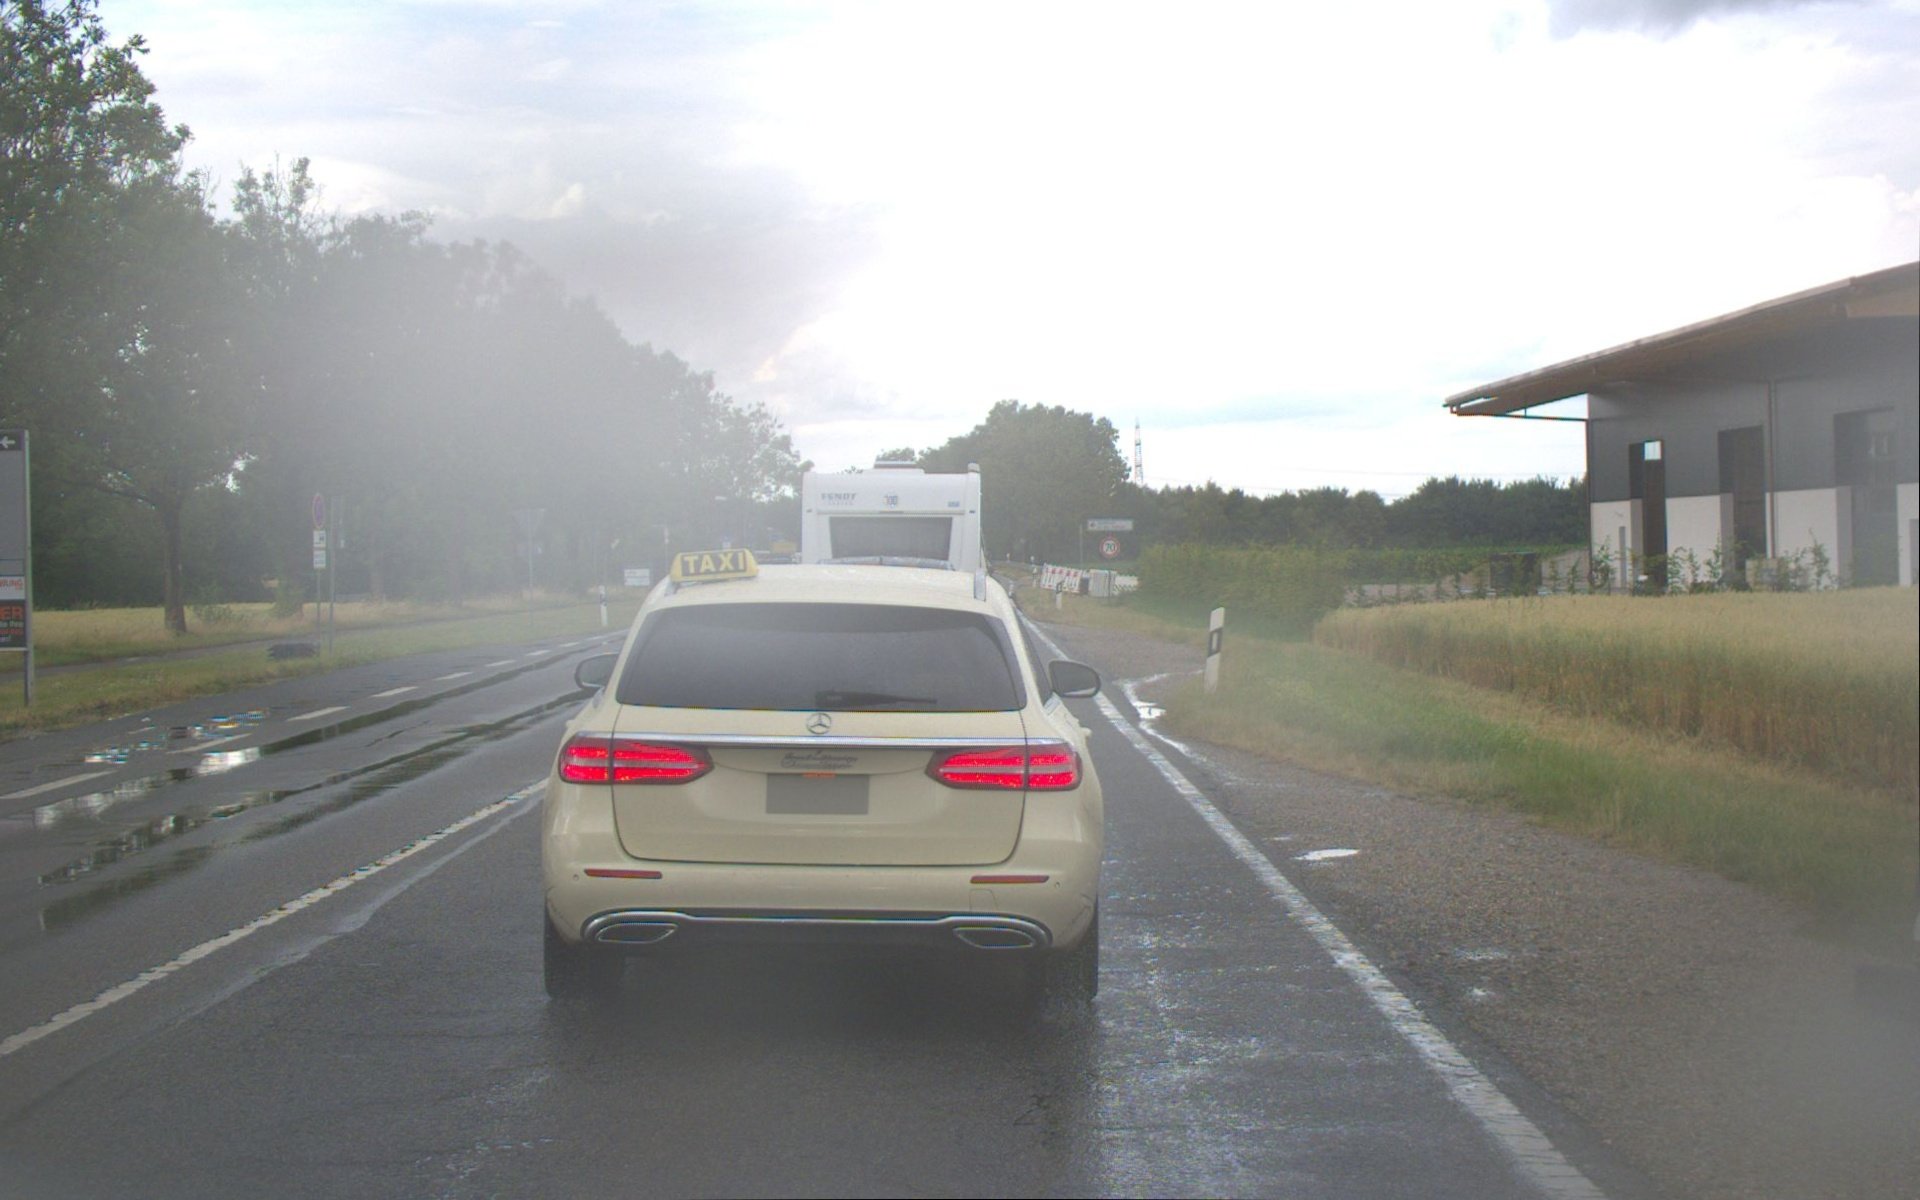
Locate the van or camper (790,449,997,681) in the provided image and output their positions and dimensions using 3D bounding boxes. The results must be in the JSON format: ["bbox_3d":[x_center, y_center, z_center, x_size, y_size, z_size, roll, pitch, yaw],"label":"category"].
[{"bbox_3d":[-0.804,-0.470,45.970,2.497,2.821,5.934,-2,1,1],"label":"van or camper"}]

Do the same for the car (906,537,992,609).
[{"bbox_3d":[-0.252,-0.630,77.637,1.894,1.585,3.928,0,1,0],"label":"car"}]

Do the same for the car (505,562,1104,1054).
[{"bbox_3d":[-0.463,0.603,12.354,1.797,1.459,4.031,0,1,0],"label":"car"}]

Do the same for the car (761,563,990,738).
[{"bbox_3d":[-0.728,0.398,30.480,1.894,1.424,3.928,0,1,-1],"label":"car"}]
